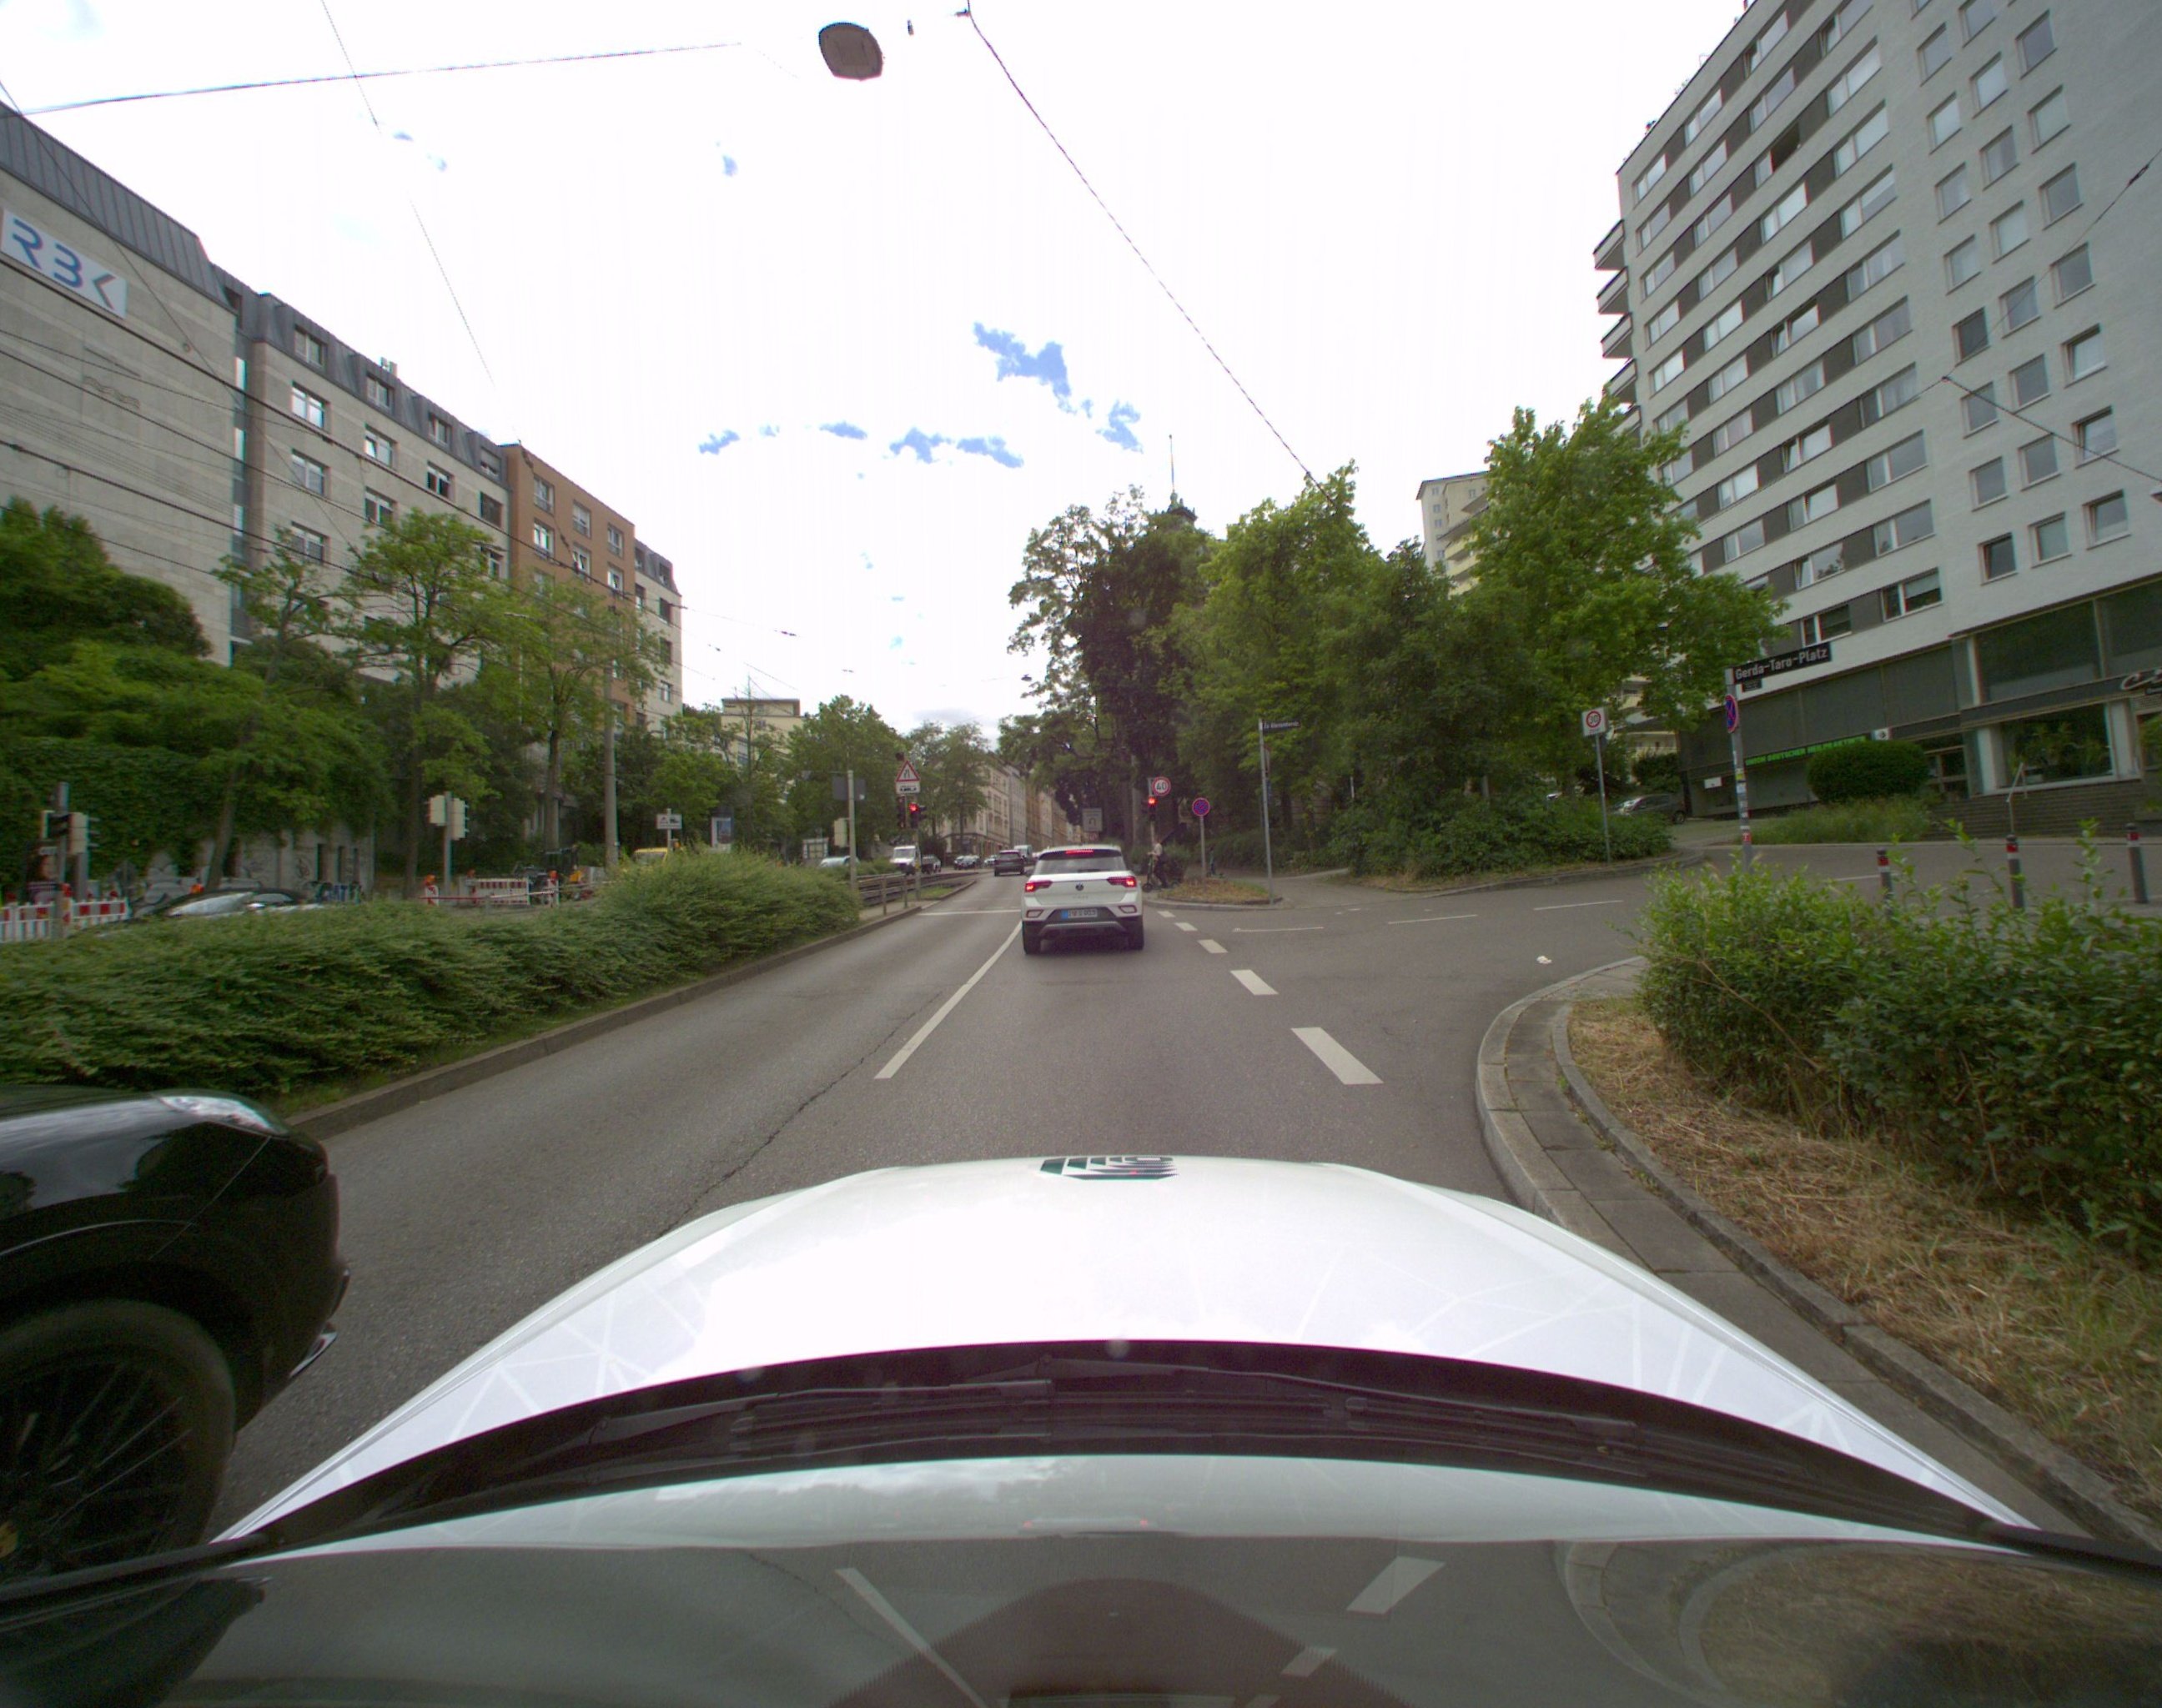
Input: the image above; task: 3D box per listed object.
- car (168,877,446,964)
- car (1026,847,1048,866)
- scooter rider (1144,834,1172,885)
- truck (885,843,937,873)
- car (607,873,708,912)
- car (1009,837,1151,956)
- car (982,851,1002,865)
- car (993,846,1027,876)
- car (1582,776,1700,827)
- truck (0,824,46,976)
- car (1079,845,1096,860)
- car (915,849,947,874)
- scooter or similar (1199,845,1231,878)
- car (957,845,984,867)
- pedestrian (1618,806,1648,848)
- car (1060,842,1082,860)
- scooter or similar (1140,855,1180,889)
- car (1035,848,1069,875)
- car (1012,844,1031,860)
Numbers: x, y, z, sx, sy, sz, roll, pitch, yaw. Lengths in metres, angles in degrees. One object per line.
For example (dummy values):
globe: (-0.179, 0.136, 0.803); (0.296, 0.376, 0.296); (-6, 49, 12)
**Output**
car: (-15.454, 1.247, 16.624); (1.735, 1.322, 4.065); (-3, 1, -1)
car: (-4.504, 0.237, 83.986); (1.820, 1.757, 3.781); (-3, 0, 1)
scooter rider: (2.426, 0.168, 25.548); (0.774, 1.558, 0.533); (-3, 0, 6)
truck: (-12.832, 0.302, 61.828); (2.412, 2.169, 6.037); (0, 0, 3)
car: (-16.151, 1.412, 31.295); (1.734, 1.322, 4.065); (-2, -1, 0)
car: (0.087, 0.550, 13.192); (1.930, 1.566, 4.050); (-1, 2, 3)
car: (-11.095, 0.490, 101.636); (1.986, 1.623, 4.001); (0, -2, 1)
car: (-4.635, 0.409, 53.430); (1.834, 1.739, 3.998); (-3, 1, -1)
car: (25.839, -2.402, 37.637); (4.125, 2.013, 1.996); (-3, 0, -6)
truck: (-19.189, 0.719, 10.371); (2.909, 2.510, 7.148); (-3, -2, -1)
car: (1.109, -0.255, 130.238); (2.412, 2.169, 6.037); (-3, 0, 3)
car: (-13.163, 0.688, 71.702); (1.986, 2.014, 4.001); (0, -2, 2)
scooter or similar: (4.665, 0.270, 28.430); (0.475, 1.099, 1.360); (-3, 0, -18)
car: (-10.726, 0.185, 79.356); (1.986, 2.014, 4.001); (0, -2, 1)
pedestrian: (20.605, -1.000, 30.416); (0.560, 1.499, 0.672); (-3, 0, -25)
car: (-1.209, -0.414, 105.326); (2.412, 2.169, 6.037); (-3, 0, 3)
scooter or similar: (2.489, 0.560, 25.547); (1.181, 0.994, 0.532); (-3, 0, 5)
car: (-1.729, 0.499, 49.982); (1.896, 1.574, 3.833); (0, -2, 0)
car: (-7.925, -0.223, 109.104); (1.986, 2.013, 4.001); (-3, 0, 1)
